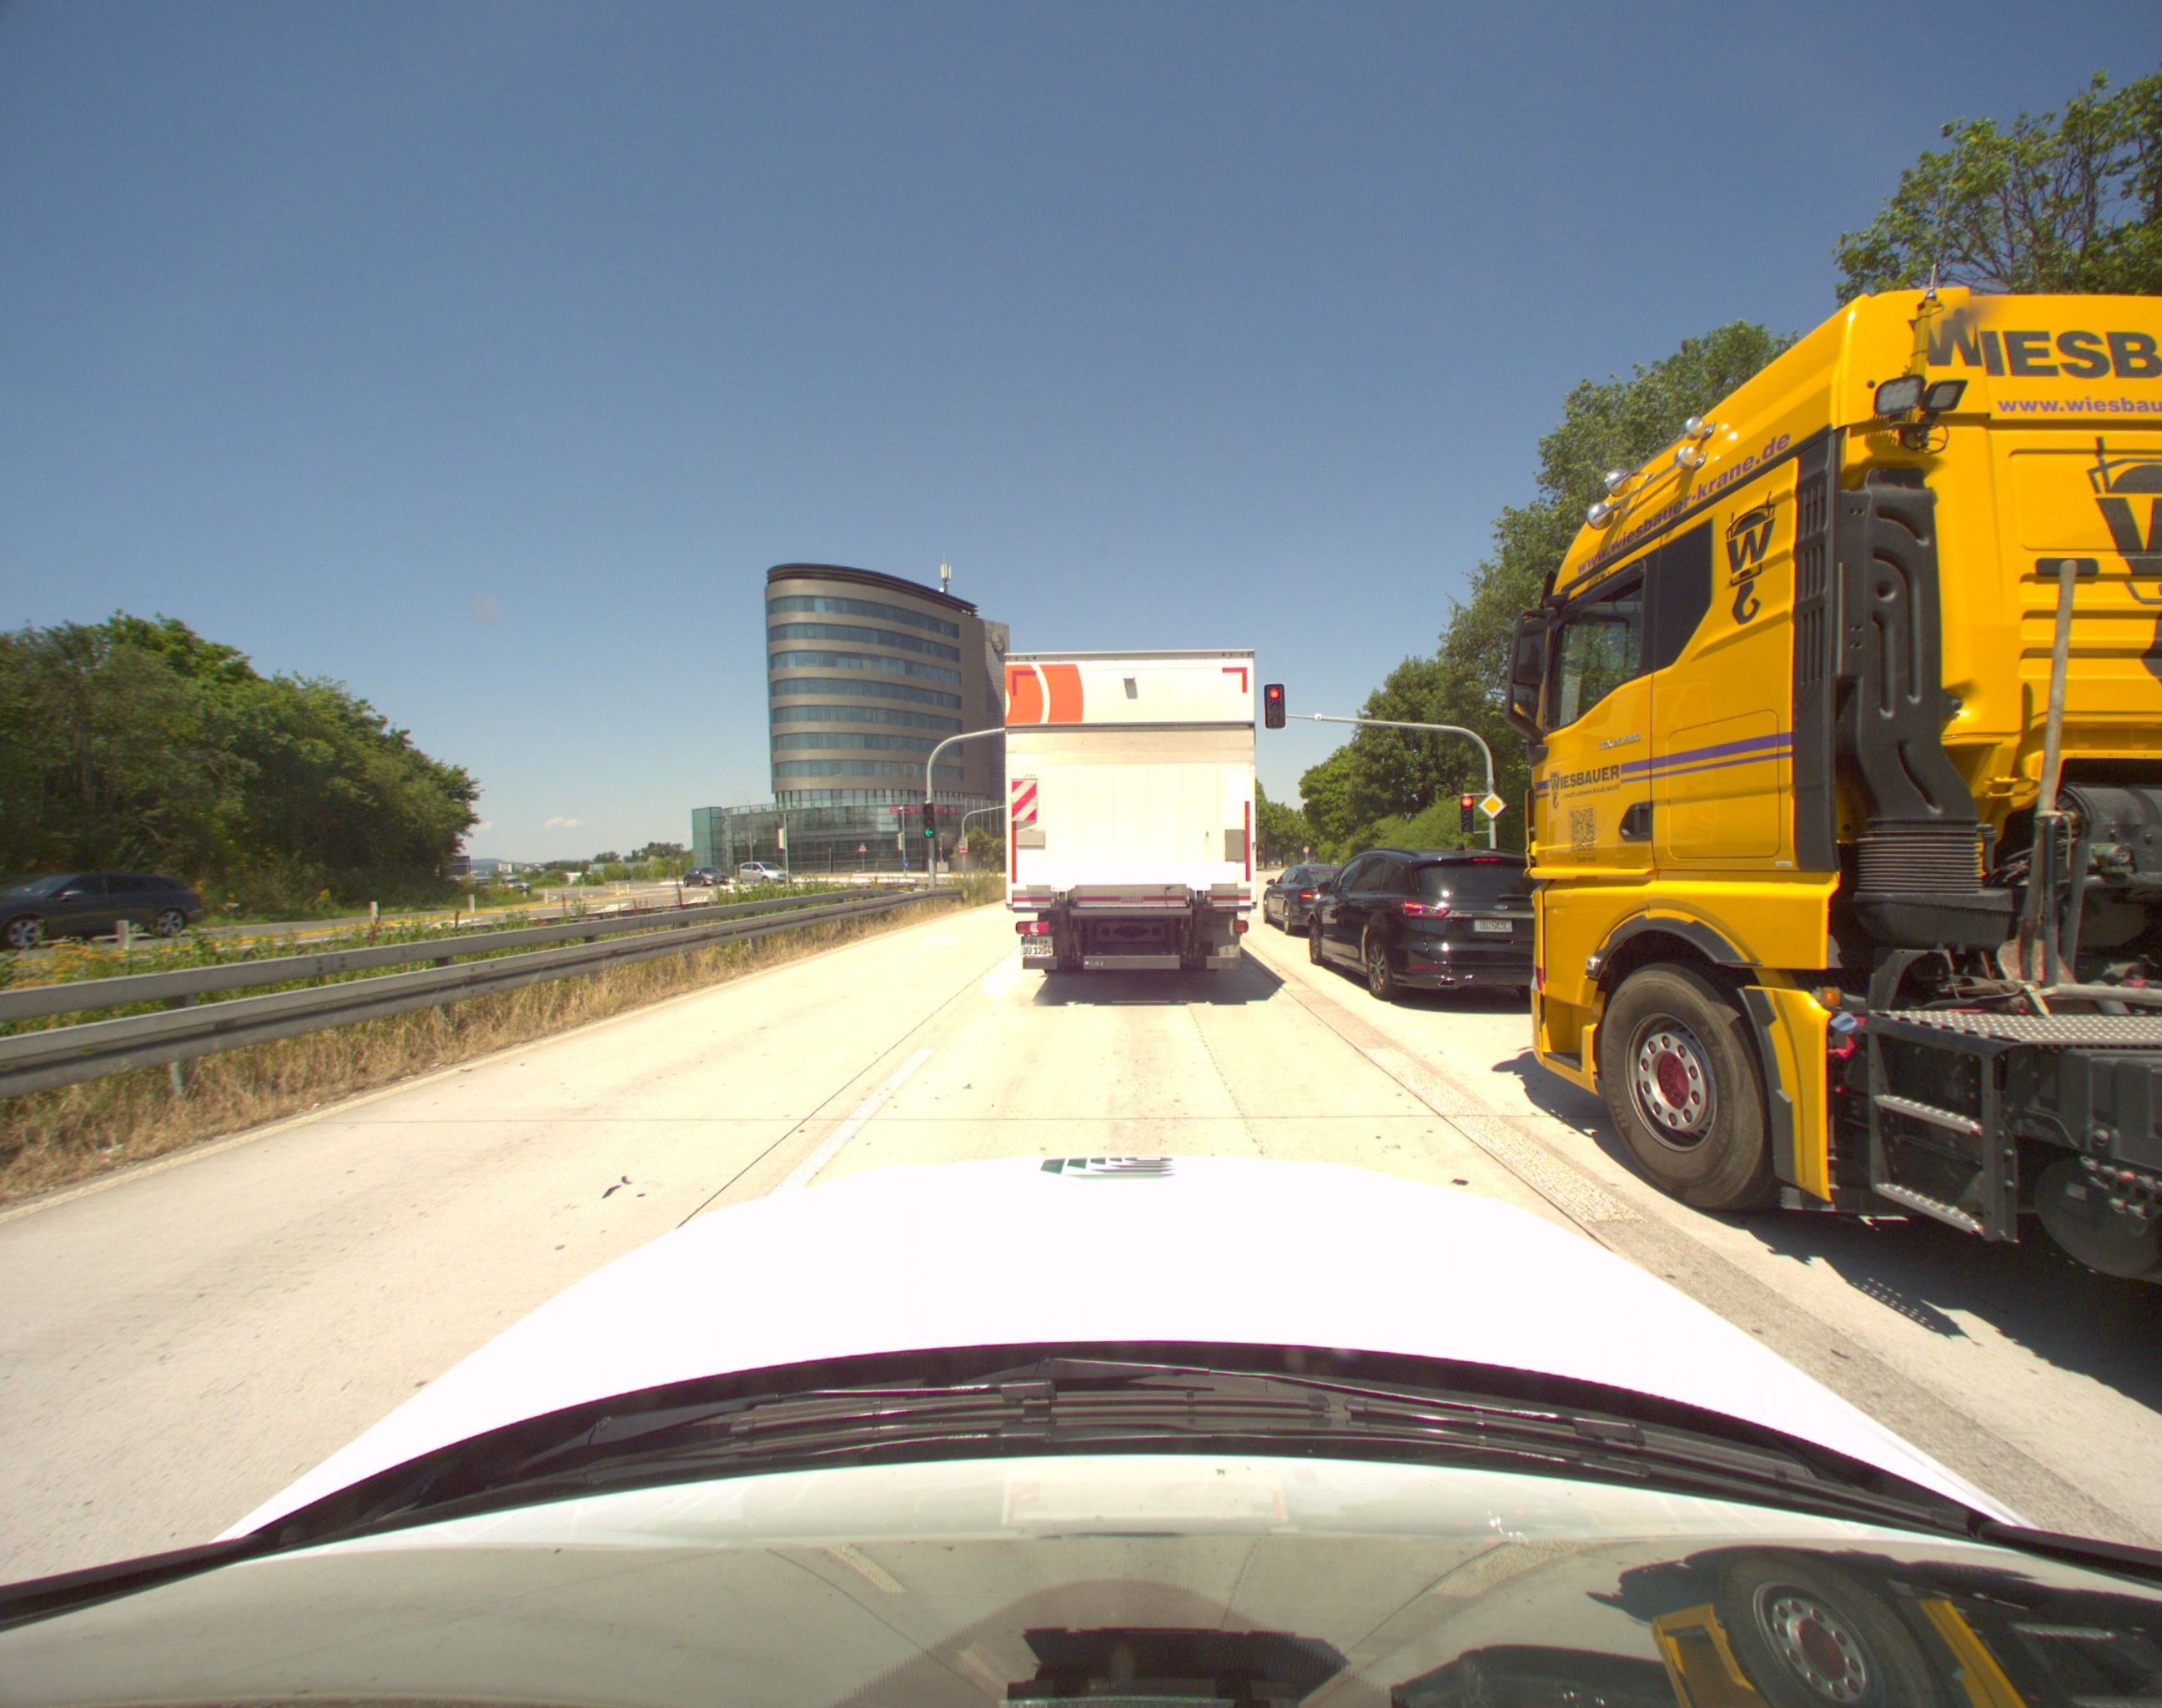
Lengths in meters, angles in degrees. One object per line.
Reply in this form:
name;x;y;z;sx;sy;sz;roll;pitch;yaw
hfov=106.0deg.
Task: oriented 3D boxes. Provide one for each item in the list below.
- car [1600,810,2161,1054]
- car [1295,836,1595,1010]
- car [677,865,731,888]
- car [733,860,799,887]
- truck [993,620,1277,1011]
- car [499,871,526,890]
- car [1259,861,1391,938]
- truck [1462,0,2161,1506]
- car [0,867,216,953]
car;7.872;0.611;8.496;1.763;1.807;4.789;0;-1;-2
car;4.059;0.688;10.061;1.777;1.639;4.649;0;-1;2
car;-26.912;1.593;58.105;4.273;1.456;1.708;-4;-3;37
car;-20.658;1.274;53.408;4.273;1.595;1.788;-3;-2;31
truck;0.735;-0.322;12.813;2.758;3.860;9.375;-1;-1;2
car;-55.482;2.579;79.470;2.009;1.773;4.803;0;-1;-37
car;4.995;0.862;17.301;1.759;1.410;4.615;0;-1;4
truck;3.891;-0.451;1.405;3.003;3.773;7.469;0;-1;0
car;-19.841;1.013;15.822;1.709;1.485;4.285;0;-1;-5
